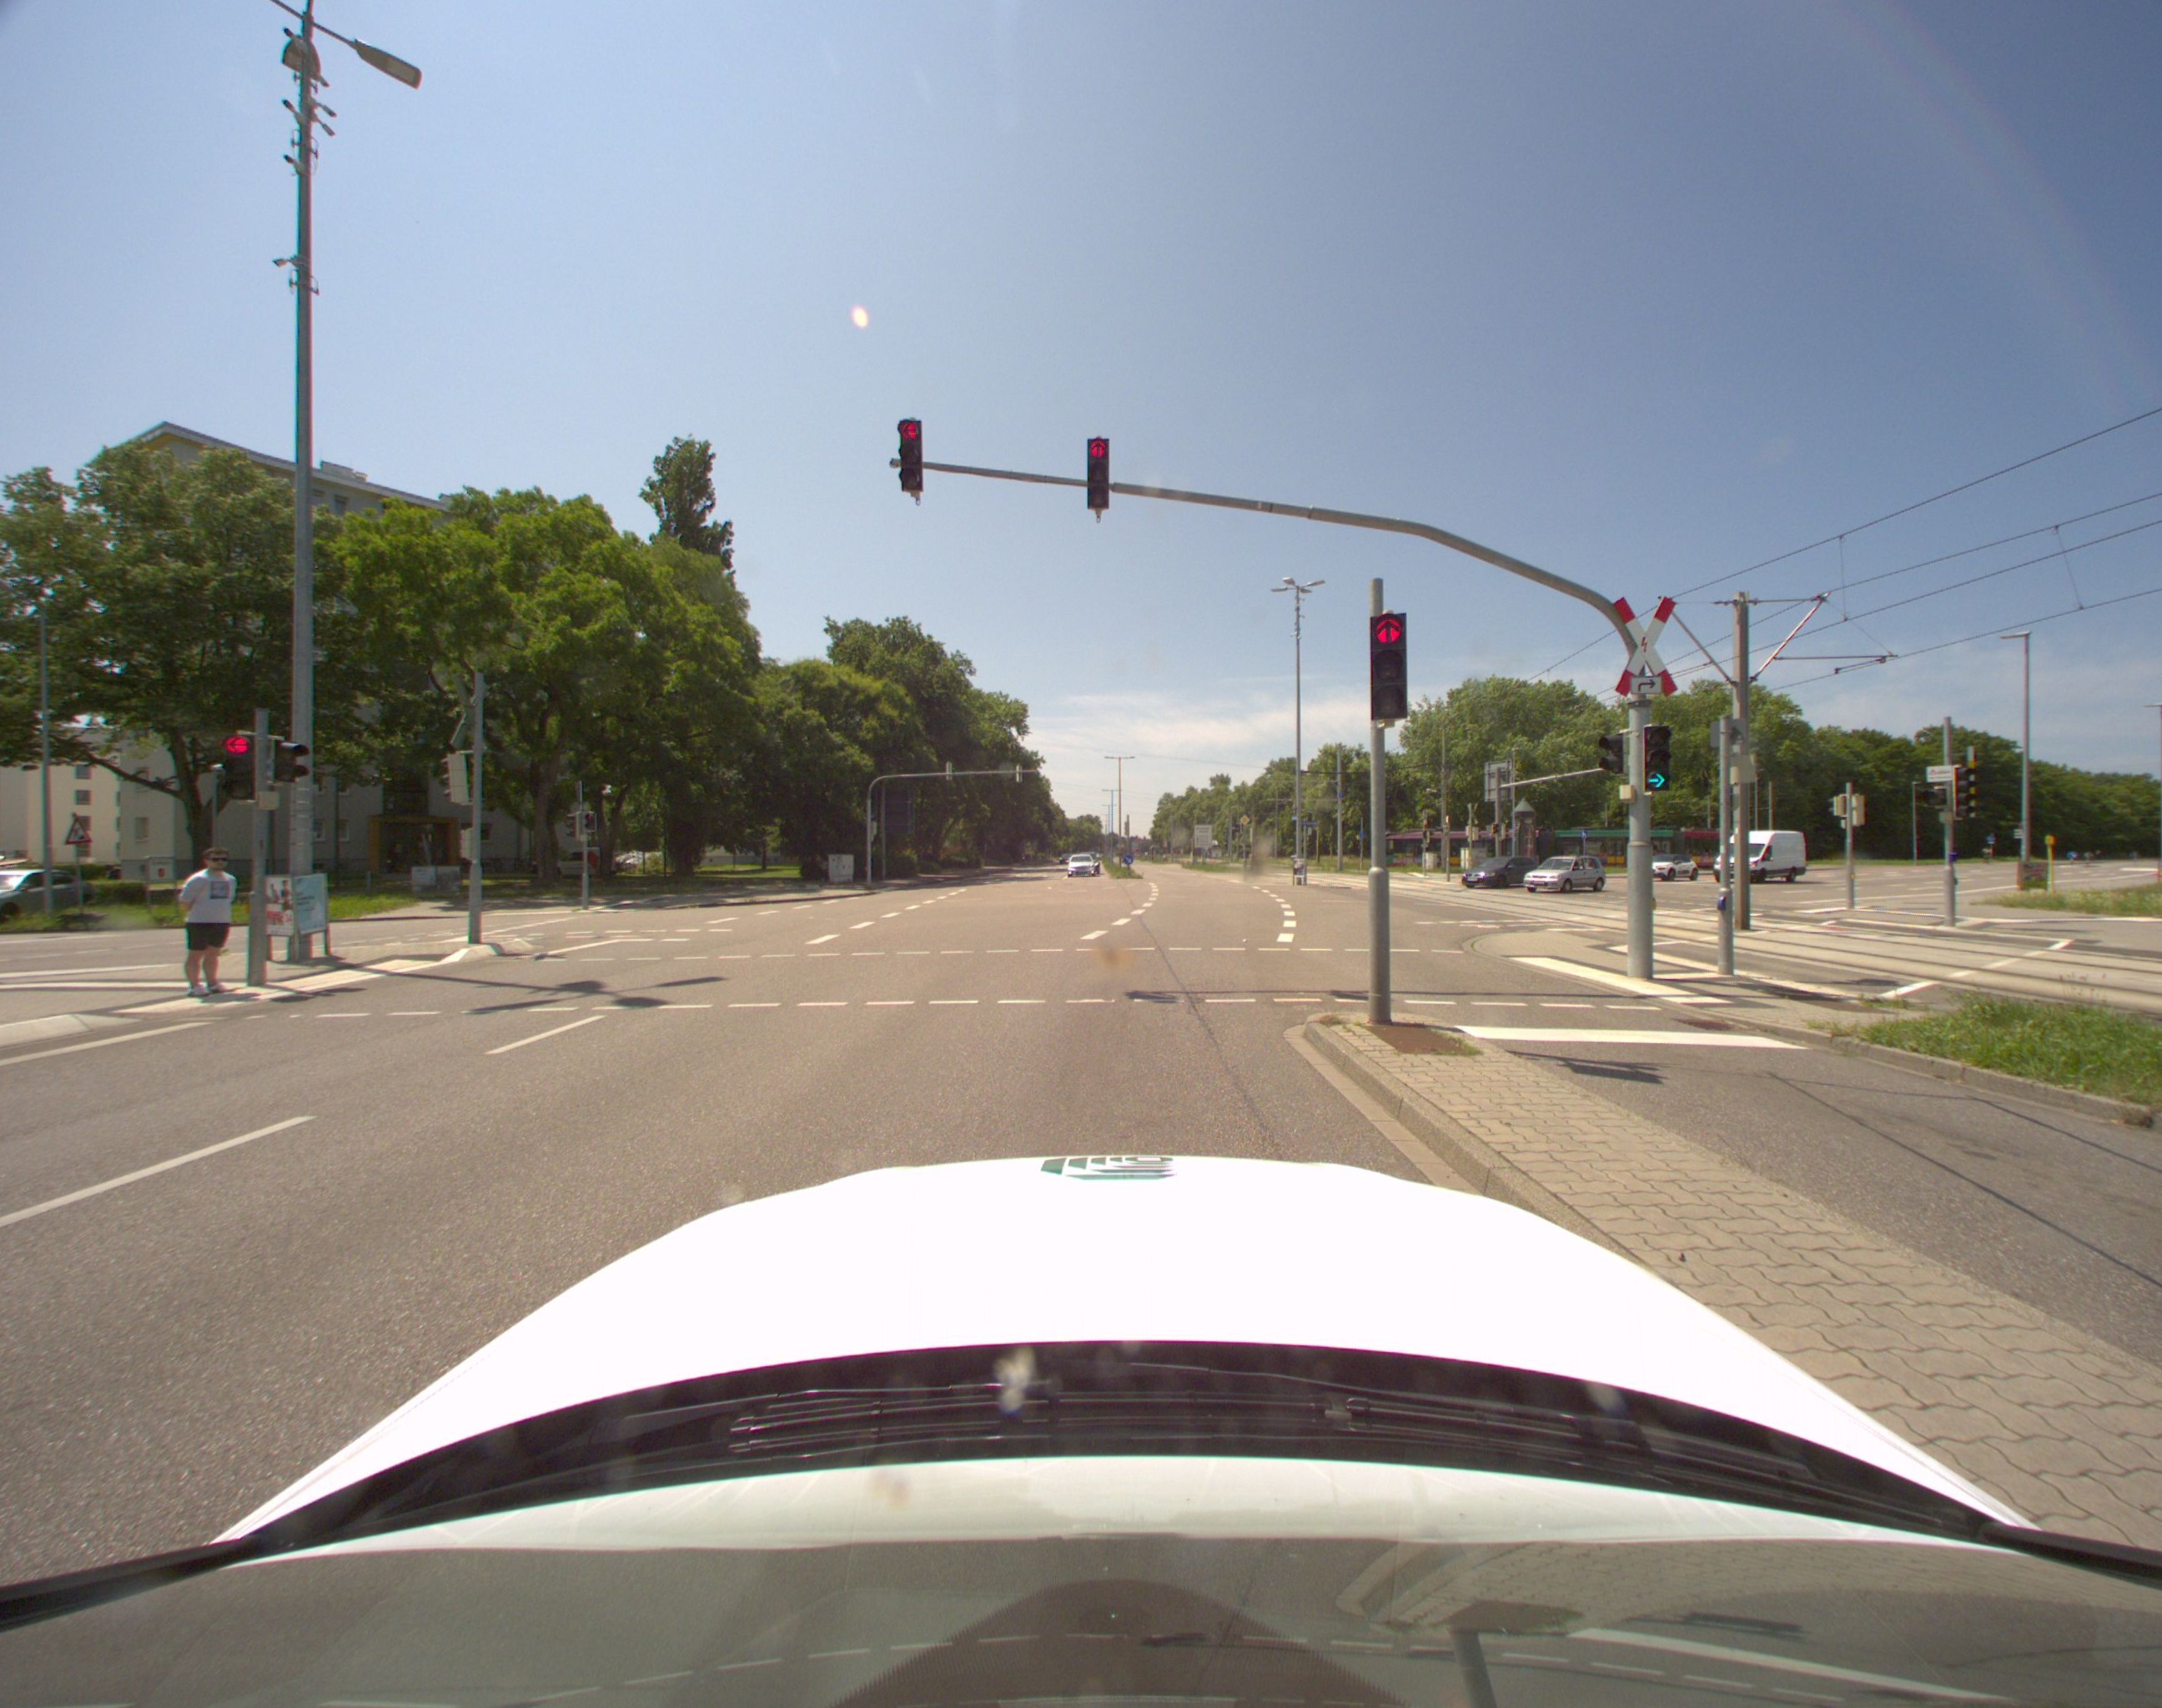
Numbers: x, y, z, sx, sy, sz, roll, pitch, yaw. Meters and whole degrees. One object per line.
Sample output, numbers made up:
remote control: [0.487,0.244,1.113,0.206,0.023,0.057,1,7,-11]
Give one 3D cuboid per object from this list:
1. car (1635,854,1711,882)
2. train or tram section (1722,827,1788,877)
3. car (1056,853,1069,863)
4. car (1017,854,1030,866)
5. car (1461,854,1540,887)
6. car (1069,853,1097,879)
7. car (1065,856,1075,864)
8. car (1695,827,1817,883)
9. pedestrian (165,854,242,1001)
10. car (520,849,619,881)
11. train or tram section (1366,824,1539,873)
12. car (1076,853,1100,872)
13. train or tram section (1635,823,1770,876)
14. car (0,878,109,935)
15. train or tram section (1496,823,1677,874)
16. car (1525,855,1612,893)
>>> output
car: [32.571,0.748,44.768,4.505,1.463,1.625,0,0,-29]
train or tram section: [62.773,0.019,75.685,14.040,3.920,2.888,3,-4,-43]
car: [-2.770,0.549,123.411,1.665,1.490,3.712,0,0,2]
car: [-10.212,1.017,145.172,1.988,2.014,3.997,3,-1,-2]
car: [19.442,0.743,37.717,3.519,1.463,1.624,0,0,-30]
car: [0.158,0.775,54.372,1.778,1.629,3.867,0,0,2]
car: [-2.145,1.161,159.022,1.665,1.490,3.712,0,0,2]
car: [36.005,0.029,43.364,7.306,2.802,2.691,0,0,-31]
pedestrian: [-10.301,0.840,9.571,0.381,1.687,0.485,0,0,-2]
car: [-29.670,0.596,47.368,1.769,1.768,4.577,0,0,41]
train or tram section: [30.845,-0.375,68.288,12.919,3.812,2.938,0,-3,22]
car: [0.545,0.640,61.754,1.704,1.365,3.867,0,0,2]
train or tram section: [53.031,-0.245,69.345,14.063,3.920,2.899,2,-3,-25]
car: [-29.170,1.395,22.181,1.629,1.380,3.973,1,0,-20]
train or tram section: [41.156,-0.404,66.458,13.386,3.812,2.919,1,-3,-4]
car: [20.284,0.792,33.843,3.821,1.463,1.623,0,0,-34]
